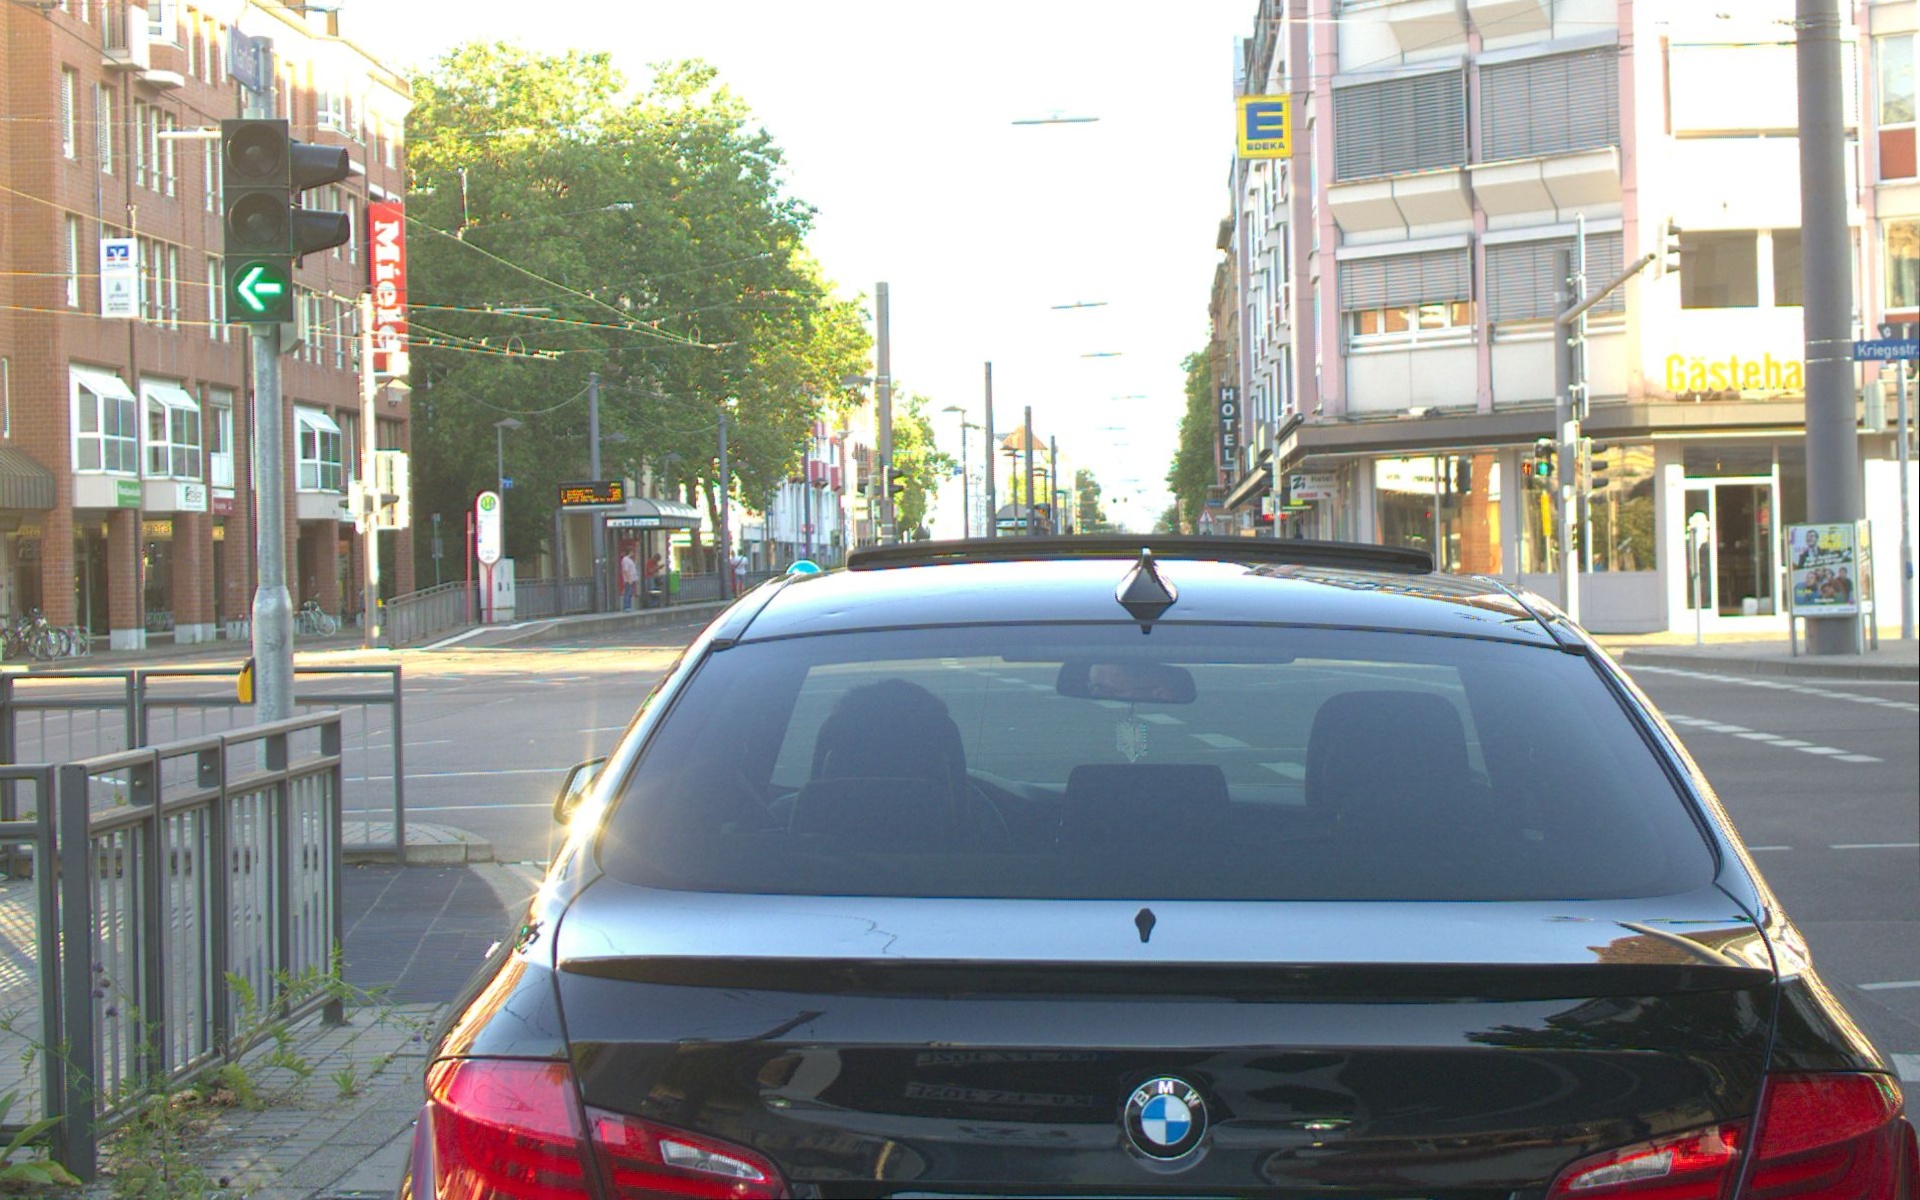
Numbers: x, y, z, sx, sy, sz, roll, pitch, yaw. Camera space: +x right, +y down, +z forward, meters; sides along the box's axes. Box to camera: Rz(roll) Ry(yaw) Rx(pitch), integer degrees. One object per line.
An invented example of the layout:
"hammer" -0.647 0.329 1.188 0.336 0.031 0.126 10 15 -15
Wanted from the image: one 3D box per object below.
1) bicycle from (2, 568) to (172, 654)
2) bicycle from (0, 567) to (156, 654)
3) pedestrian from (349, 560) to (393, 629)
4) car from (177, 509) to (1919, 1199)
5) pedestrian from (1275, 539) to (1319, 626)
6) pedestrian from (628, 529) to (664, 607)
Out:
"bicycle" -18.514 0.226 72.946 3.297 1.720 1.069 -1 1 2
"bicycle" -18.586 0.216 71.778 3.297 1.720 1.069 -1 1 3
"pedestrian" -17.415 -0.174 101.602 1.085 2.007 1.084 -1 1 -1
"car" 0.187 0.644 5.257 1.841 1.490 4.292 1 1 -1
"pedestrian" 6.189 -0.326 63.247 0.705 1.543 0.907 0 4 -1
"pedestrian" -8.142 -0.832 89.081 0.808 2.007 0.678 -2 1 0
